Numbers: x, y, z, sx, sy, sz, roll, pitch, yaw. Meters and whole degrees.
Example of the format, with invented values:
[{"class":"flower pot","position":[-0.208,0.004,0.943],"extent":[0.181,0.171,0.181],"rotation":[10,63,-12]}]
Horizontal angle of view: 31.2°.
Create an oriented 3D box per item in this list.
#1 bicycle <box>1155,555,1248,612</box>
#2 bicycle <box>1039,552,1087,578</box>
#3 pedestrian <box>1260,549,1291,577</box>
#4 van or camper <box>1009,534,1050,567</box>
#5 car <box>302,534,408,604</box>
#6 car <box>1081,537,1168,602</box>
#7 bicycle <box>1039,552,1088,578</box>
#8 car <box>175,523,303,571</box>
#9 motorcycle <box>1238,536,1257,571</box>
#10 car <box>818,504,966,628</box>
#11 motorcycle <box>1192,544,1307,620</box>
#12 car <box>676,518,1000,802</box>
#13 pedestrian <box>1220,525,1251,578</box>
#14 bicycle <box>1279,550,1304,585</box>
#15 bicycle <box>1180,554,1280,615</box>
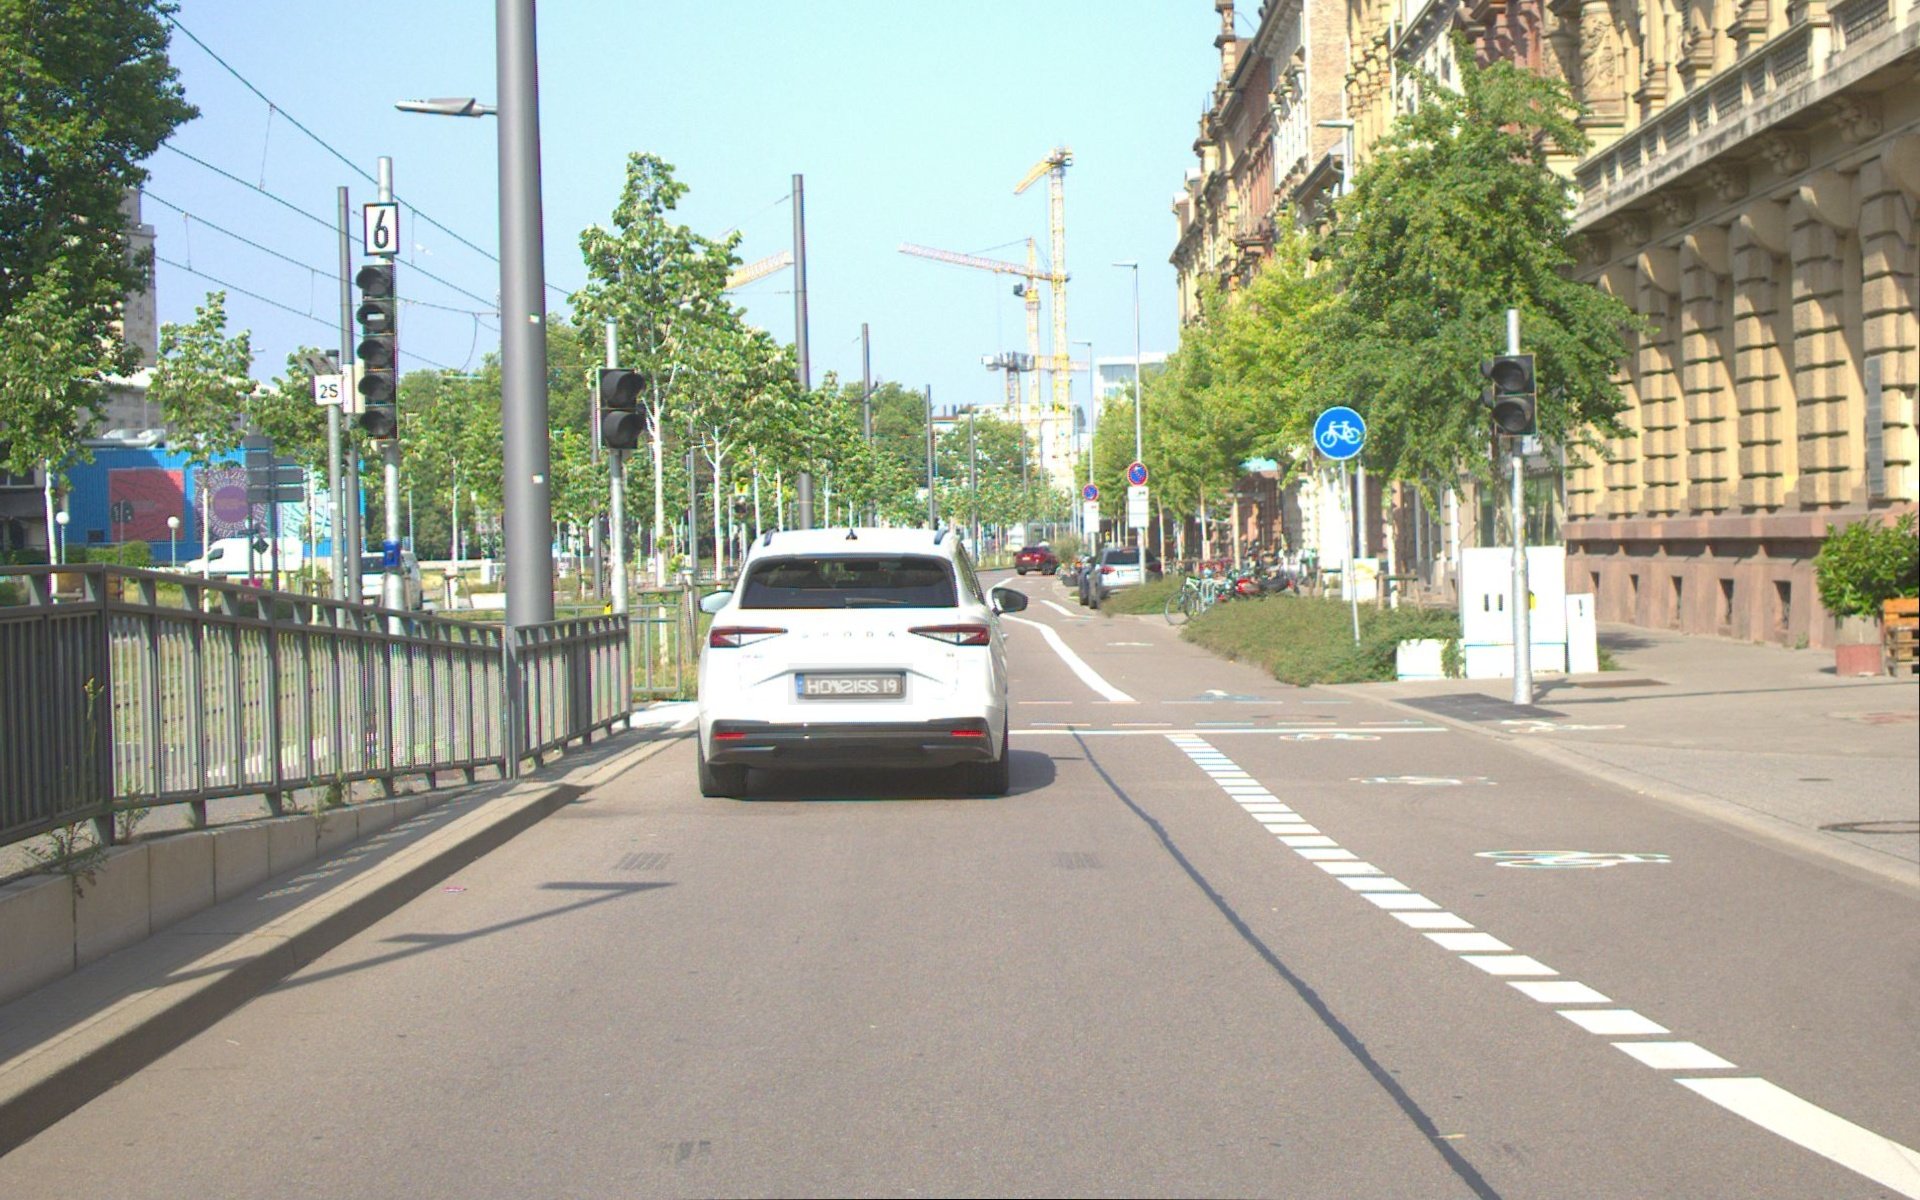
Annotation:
[{"class":"bicycle","position":[4.799,-0.334,68.394],"extent":[1.784,1.050,0.373],"rotation":[-3,1,-1]},{"class":"bicycle","position":[4.849,-1.642,161.767],"extent":[2.239,1.100,0.588],"rotation":[-3,1,2]},{"class":"pedestrian","position":[10.335,-1.218,112.772],"extent":[0.877,0.873,0.711],"rotation":[-3,1,-3]},{"class":"van or camper","position":[3.682,-2.621,182.608],"extent":[1.993,1.649,4.000],"rotation":[-2,1,0]},{"class":"car","position":[-17.064,-0.905,97.125],"extent":[1.993,1.888,5.046],"rotation":[-1,1,1]},{"class":"car","position":[4.263,-0.810,89.700],"extent":[1.769,1.583,4.248],"rotation":[-2,1,-3]},{"class":"bicycle","position":[4.880,-1.646,162.321],"extent":[2.239,1.100,0.519],"rotation":[-3,1,2]},{"class":"car","position":[-41.468,-3.044,197.785],"extent":[6.872,2.629,2.515],"rotation":[1,0,-20]},{"class":"motorcycle","position":[10.171,-1.645,121.650],"extent":[0.463,1.171,1.945],"rotation":[-3,1,1]},{"class":"car","position":[-0.816,-0.449,43.583],"extent":[1.754,1.479,4.407],"rotation":[0,1,0]},{"class":"motorcycle","position":[5.314,-0.333,62.969],"extent":[2.035,1.282,0.705],"rotation":[-4,2,-32]},{"class":"car","position":[-0.671,0.302,21.555],"extent":[1.817,1.584,4.407],"rotation":[0,1,0]},{"class":"pedestrian","position":[8.953,-1.572,111.687],"extent":[0.823,1.691,0.793],"rotation":[-3,1,-3]},{"class":"bicycle","position":[10.503,-1.033,108.951],"extent":[0.450,1.079,1.449],"rotation":[-1,1,-9]},{"class":"bicycle","position":[5.266,-0.312,67.066],"extent":[1.806,1.092,0.672],"rotation":[-3,1,-5]}]
